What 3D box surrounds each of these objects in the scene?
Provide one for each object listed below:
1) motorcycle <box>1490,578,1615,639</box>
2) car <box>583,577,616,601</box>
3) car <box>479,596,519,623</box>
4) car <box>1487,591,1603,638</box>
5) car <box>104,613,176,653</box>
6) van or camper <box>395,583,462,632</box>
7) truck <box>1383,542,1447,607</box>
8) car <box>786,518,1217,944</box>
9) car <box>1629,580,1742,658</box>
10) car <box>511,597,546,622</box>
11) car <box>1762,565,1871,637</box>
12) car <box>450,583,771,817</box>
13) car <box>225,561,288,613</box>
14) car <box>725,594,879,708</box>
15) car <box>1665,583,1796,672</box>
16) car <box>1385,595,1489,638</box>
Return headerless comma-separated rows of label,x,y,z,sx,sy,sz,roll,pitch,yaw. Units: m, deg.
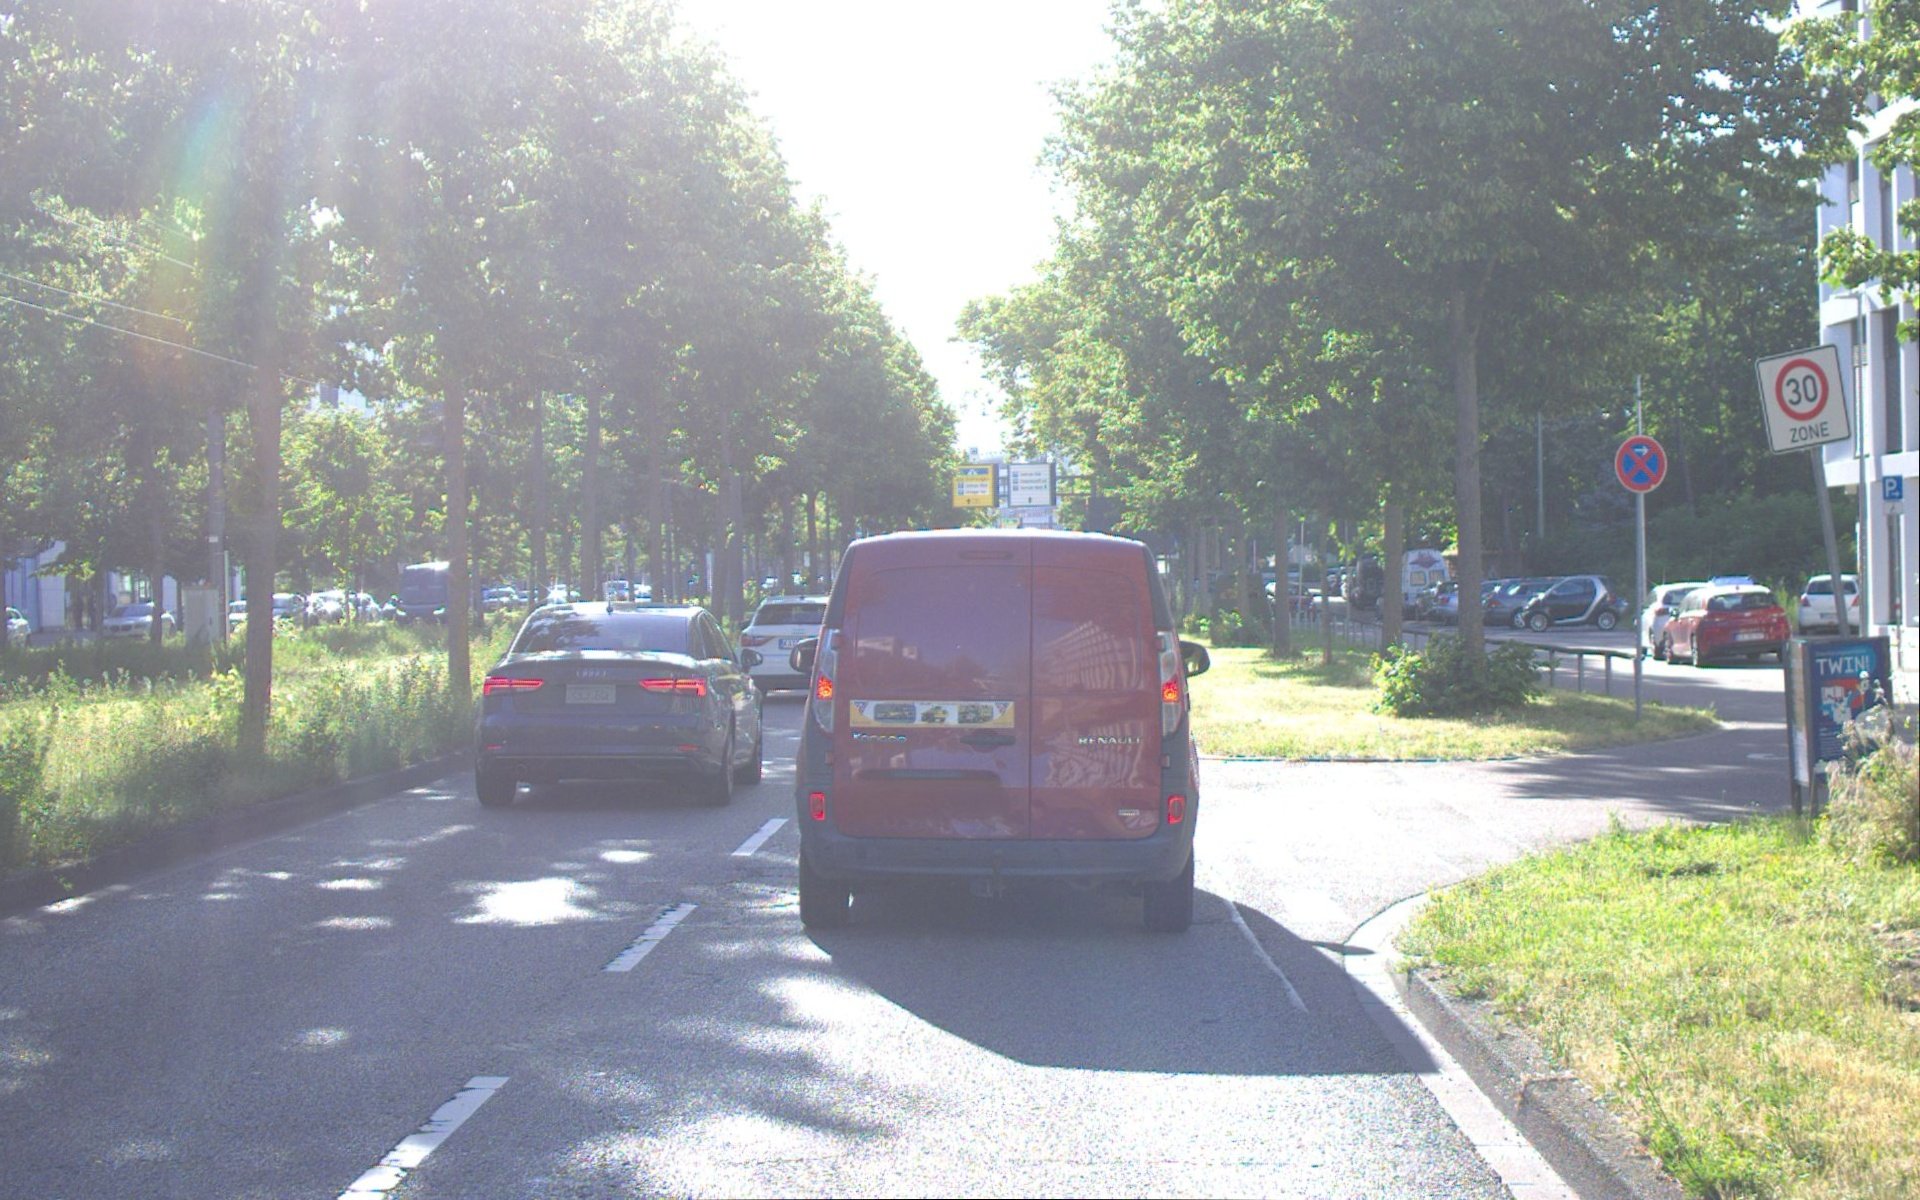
motorcycle,16.651,0.234,96.693,3.400,1.657,1.470,-1,0,8
car,-24.979,-0.779,238.363,1.755,1.568,4.000,-1,1,1
car,-27.503,0.552,205.020,1.755,1.568,4.000,-1,0,1
car,17.643,0.430,103.800,3.400,1.354,1.470,-1,0,8
car,-28.940,1.162,121.385,1.580,1.338,3.712,-1,0,1
van or camper,-19.525,0.261,126.435,1.820,1.732,3.712,-1,0,1
truck,17.945,-0.977,135.863,1.832,2.492,5.932,-1,0,1
car,0.134,0.537,16.539,1.808,1.788,4.113,0,0,-1
car,14.780,0.376,70.137,1.820,1.527,3.436,-1,0,5
car,-27.371,0.578,218.026,1.602,1.551,4.000,-1,0,1
car,22.096,0.025,88.817,1.994,1.810,3.999,0,0,3
car,-2.422,0.651,24.772,1.808,1.522,4.113,-1,0,1
car,-28.095,-0.538,137.391,1.728,2.007,4.000,-1,1,-1
car,-2.088,0.654,46.437,1.808,1.430,4.113,-1,0,1
car,14.533,0.495,65.005,1.758,1.606,3.903,-1,0,3
car,16.039,0.552,115.625,3.400,1.354,1.470,-1,0,8
